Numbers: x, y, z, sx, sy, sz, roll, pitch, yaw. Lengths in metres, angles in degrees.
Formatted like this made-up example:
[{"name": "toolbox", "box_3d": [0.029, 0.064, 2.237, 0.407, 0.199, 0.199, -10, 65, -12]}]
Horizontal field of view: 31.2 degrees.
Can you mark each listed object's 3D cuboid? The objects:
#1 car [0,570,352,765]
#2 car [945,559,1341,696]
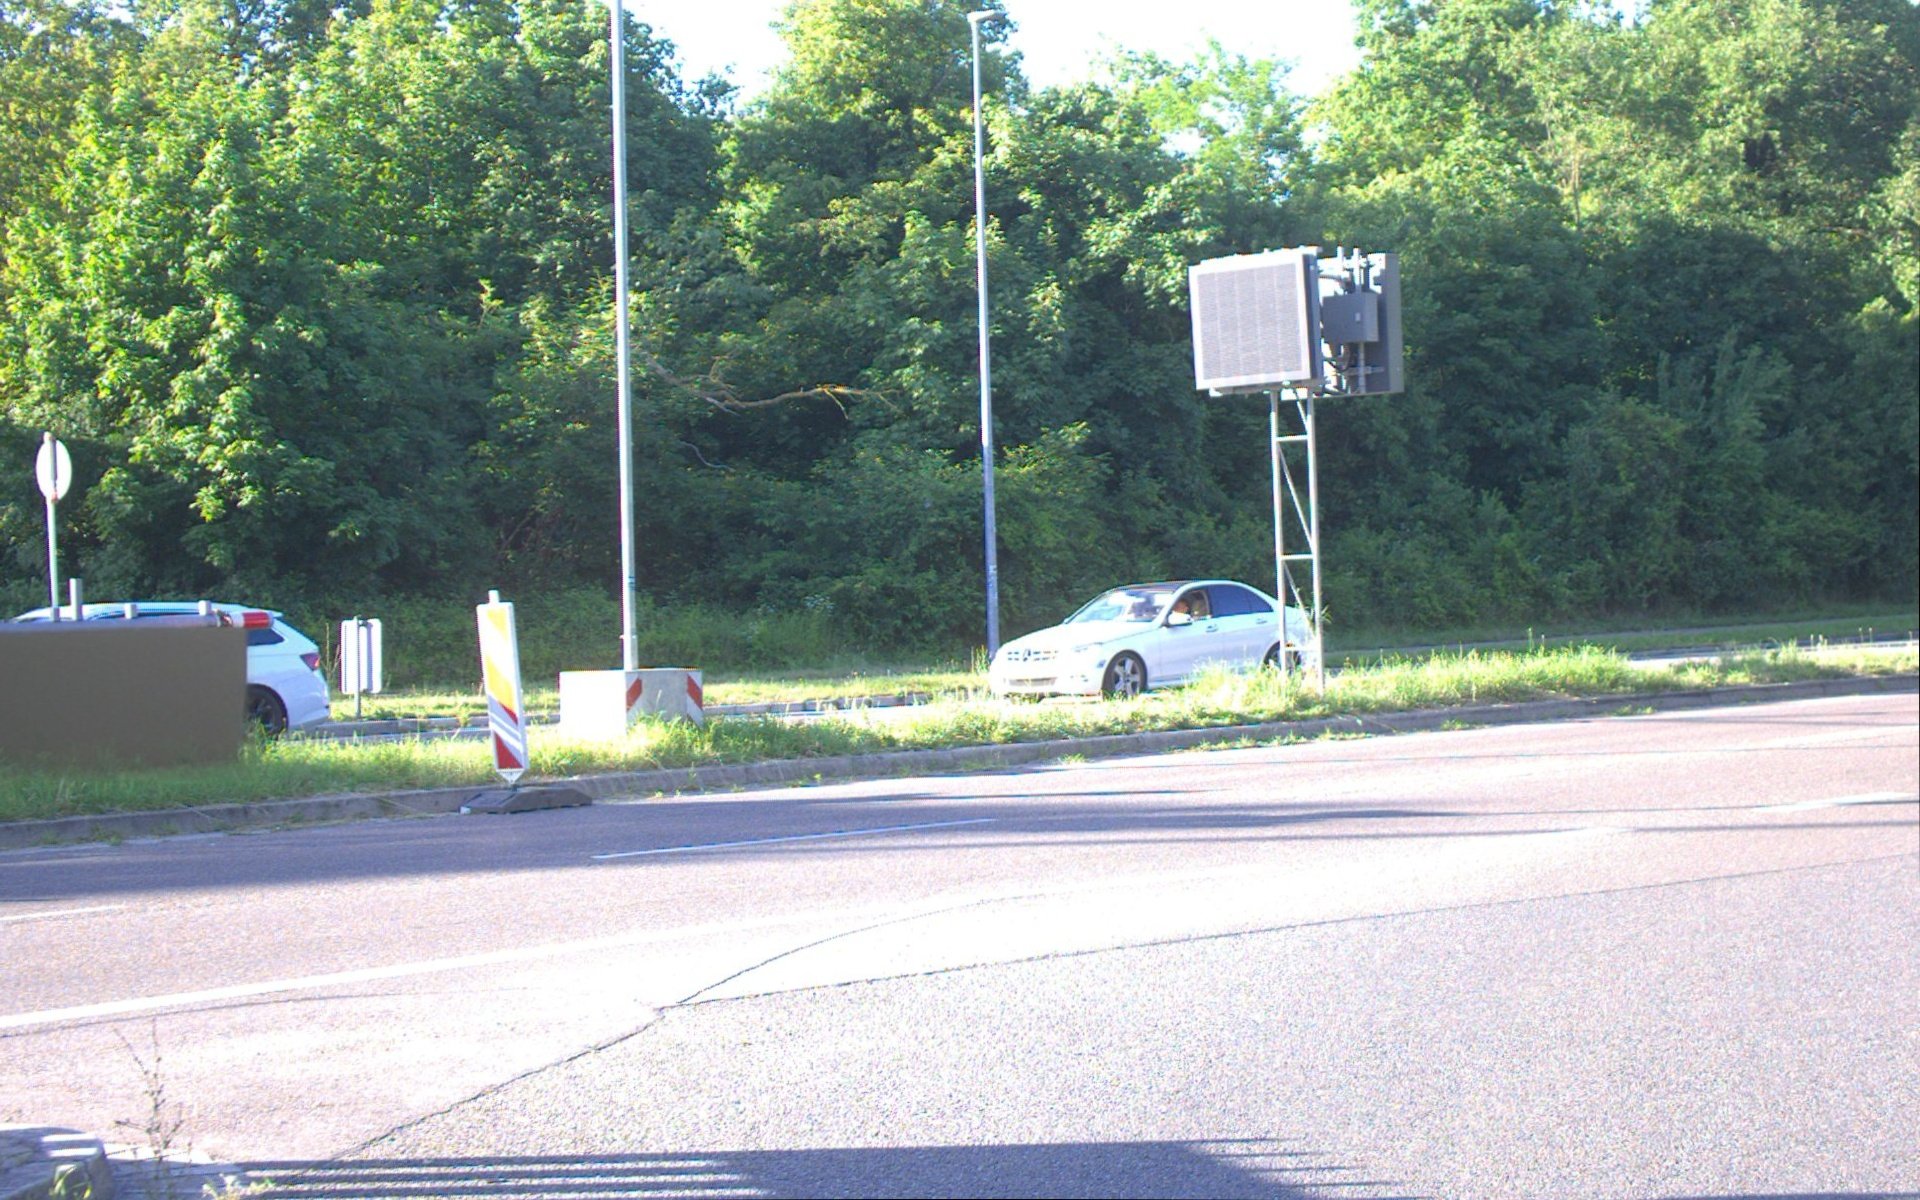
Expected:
[{"name": "car", "box_3d": [-8.033, 0.592, 30.759, 1.998, 1.575, 4.821, -1, 1, 44]}, {"name": "car", "box_3d": [2.235, 0.301, 40.916, 1.999, 1.431, 4.795, -1, 1, 45]}]
